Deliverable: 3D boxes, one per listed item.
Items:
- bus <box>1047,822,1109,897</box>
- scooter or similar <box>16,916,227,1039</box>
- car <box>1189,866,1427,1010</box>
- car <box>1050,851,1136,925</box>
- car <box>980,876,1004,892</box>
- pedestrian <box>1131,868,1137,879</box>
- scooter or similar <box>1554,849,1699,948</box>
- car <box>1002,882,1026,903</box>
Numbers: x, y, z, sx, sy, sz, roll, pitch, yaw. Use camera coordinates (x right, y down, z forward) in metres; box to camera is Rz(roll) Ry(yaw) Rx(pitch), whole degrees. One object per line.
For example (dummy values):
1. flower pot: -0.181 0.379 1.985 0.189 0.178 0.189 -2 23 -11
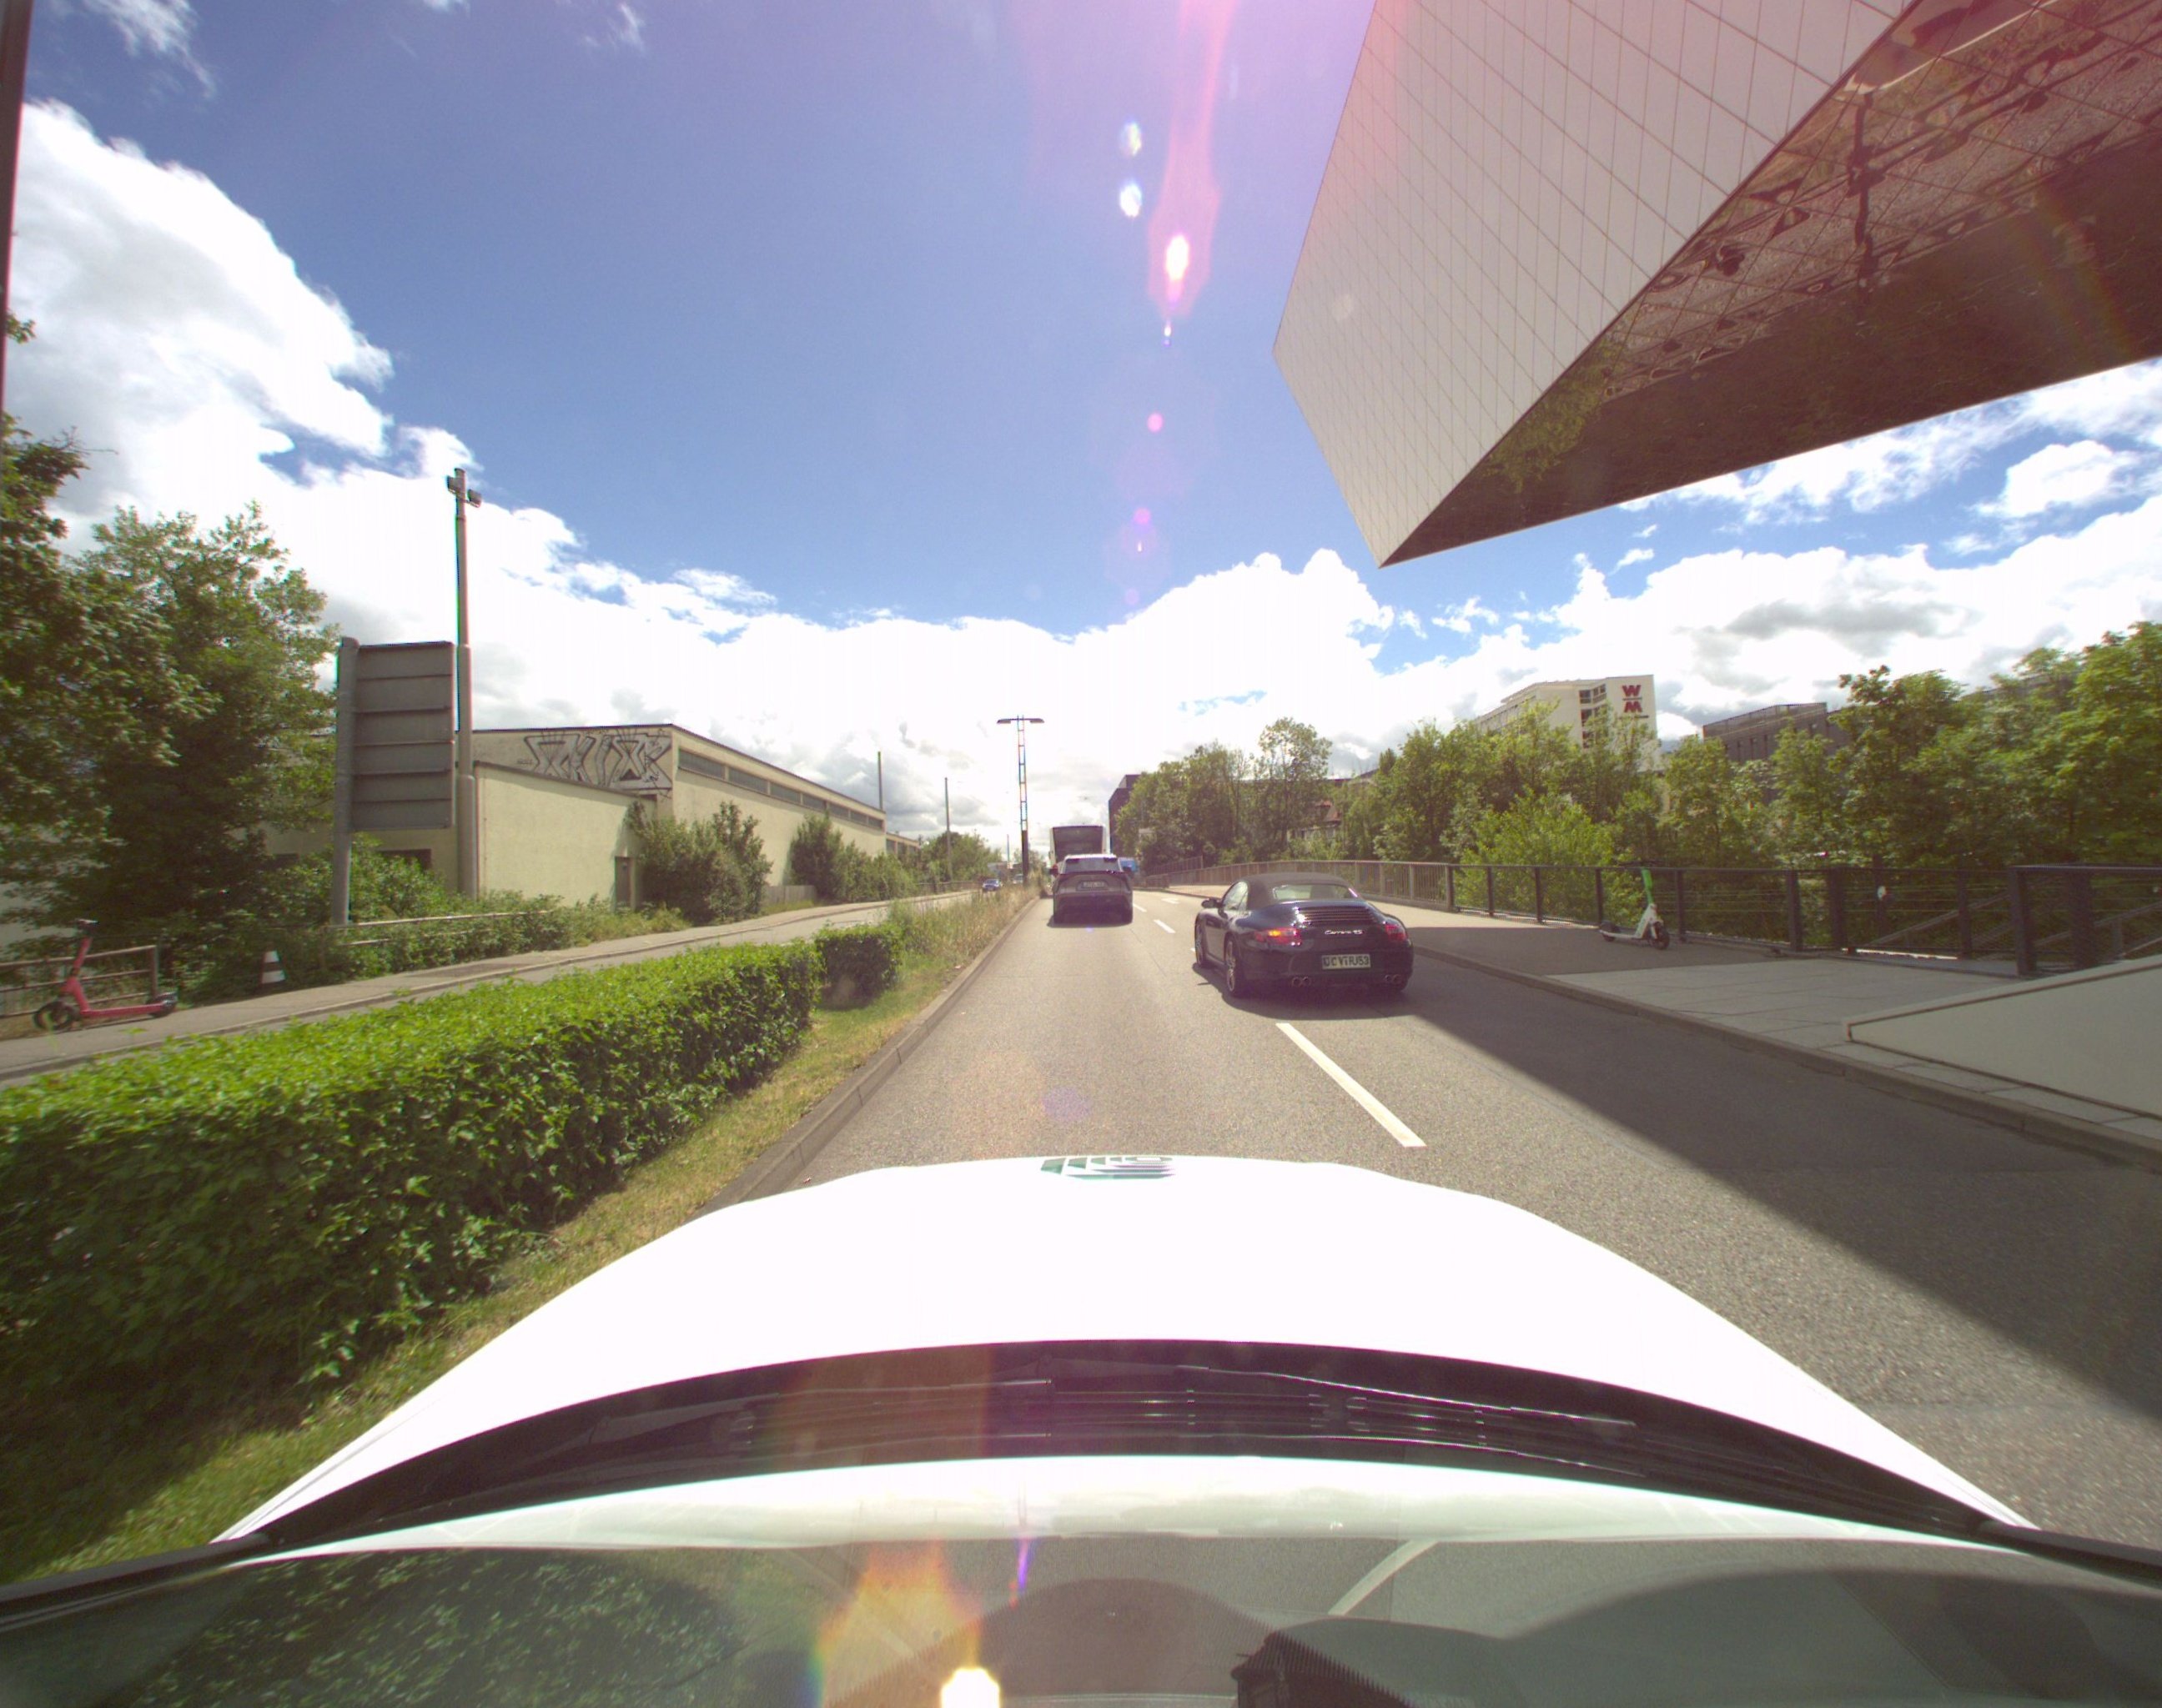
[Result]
1. bus: -0.116 0.162 41.512 2.680 3.255 12.056 -1 1 0
2. scooter or similar: -11.533 1.433 9.874 0.489 1.216 1.645 -3 0 4
3. car: 2.410 0.822 9.722 1.714 1.275 4.087 -1 0 0
4. car: 0.297 0.772 20.203 1.873 1.594 4.229 -1 -1 1
5. car: -8.298 2.782 76.284 1.749 1.276 3.998 -5 -2 -1
6. pedestrian: 8.295 3.094 127.213 0.674 1.696 0.601 -3 -3 24
7. scooter or similar: 7.405 0.567 11.179 0.651 1.214 1.857 -3 -1 -1
8. car: -6.101 3.486 74.542 1.872 1.627 4.441 -4 -1 -1
